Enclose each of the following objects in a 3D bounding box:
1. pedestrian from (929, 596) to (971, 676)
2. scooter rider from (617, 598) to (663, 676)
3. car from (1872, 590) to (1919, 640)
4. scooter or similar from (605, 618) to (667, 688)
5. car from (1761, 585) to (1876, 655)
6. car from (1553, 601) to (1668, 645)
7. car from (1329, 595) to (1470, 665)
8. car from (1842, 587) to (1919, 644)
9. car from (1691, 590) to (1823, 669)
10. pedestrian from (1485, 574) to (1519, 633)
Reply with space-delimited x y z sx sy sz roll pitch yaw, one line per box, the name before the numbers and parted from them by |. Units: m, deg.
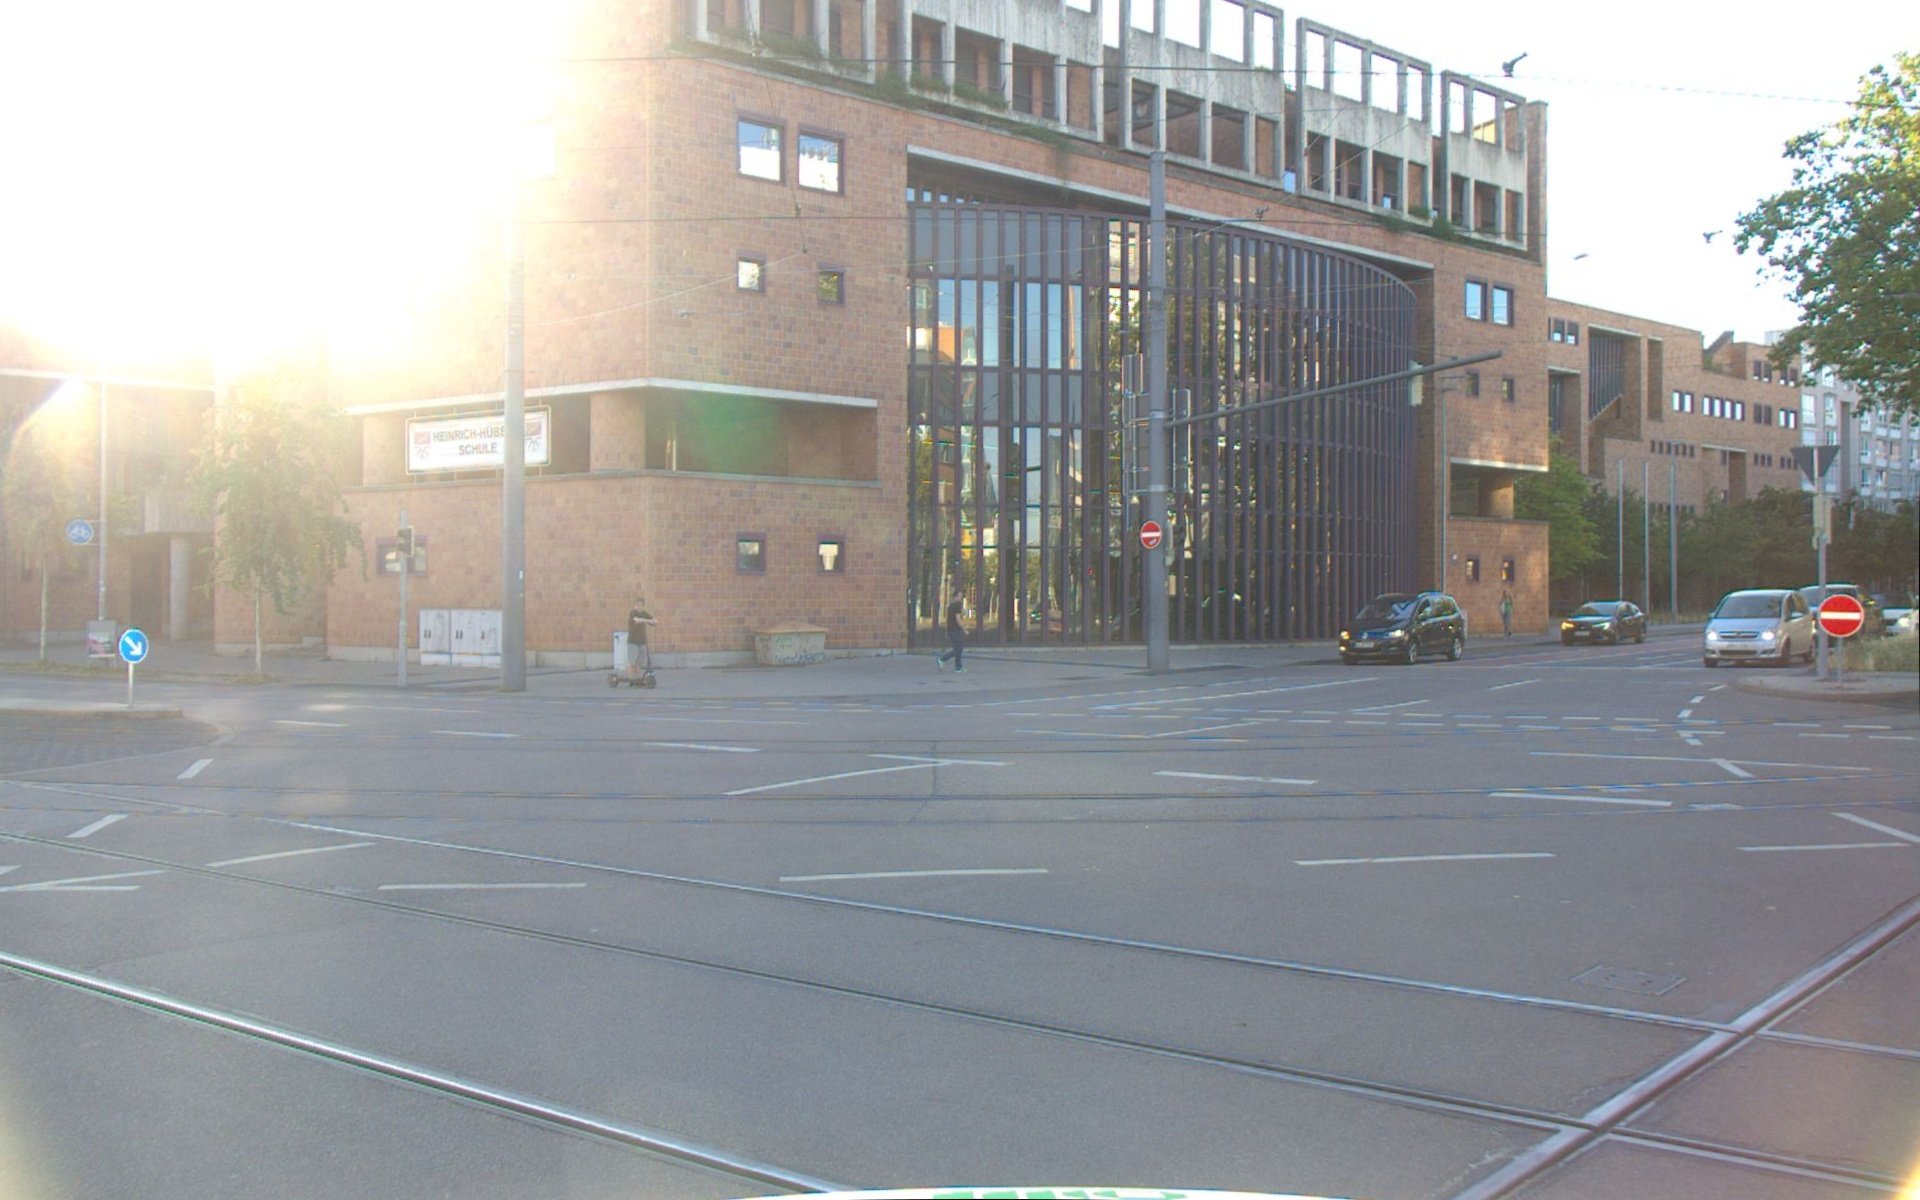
pedestrian | -0.224 0.779 36.600 0.807 1.746 0.663 0 0 -11
scooter rider | -6.197 0.715 32.009 0.706 1.486 0.507 -1 0 29
car | 31.378 0.478 54.328 1.824 1.579 4.305 -1 0 39
scooter or similar | -6.280 1.016 32.051 1.107 1.341 0.528 -1 0 28
car | 21.937 0.481 42.180 1.824 1.679 4.305 -1 0 39
car | 21.667 0.734 55.075 3.961 1.400 1.895 0 0 -39
car | 11.184 0.737 41.888 1.804 1.683 4.479 -1 -1 38
car | 27.225 0.434 48.340 1.824 1.579 4.305 -1 0 39
car | 17.523 0.607 36.255 1.703 1.625 4.305 -1 0 38
pedestrian | 19.166 0.130 58.506 0.749 2.049 0.888 0 0 -36
